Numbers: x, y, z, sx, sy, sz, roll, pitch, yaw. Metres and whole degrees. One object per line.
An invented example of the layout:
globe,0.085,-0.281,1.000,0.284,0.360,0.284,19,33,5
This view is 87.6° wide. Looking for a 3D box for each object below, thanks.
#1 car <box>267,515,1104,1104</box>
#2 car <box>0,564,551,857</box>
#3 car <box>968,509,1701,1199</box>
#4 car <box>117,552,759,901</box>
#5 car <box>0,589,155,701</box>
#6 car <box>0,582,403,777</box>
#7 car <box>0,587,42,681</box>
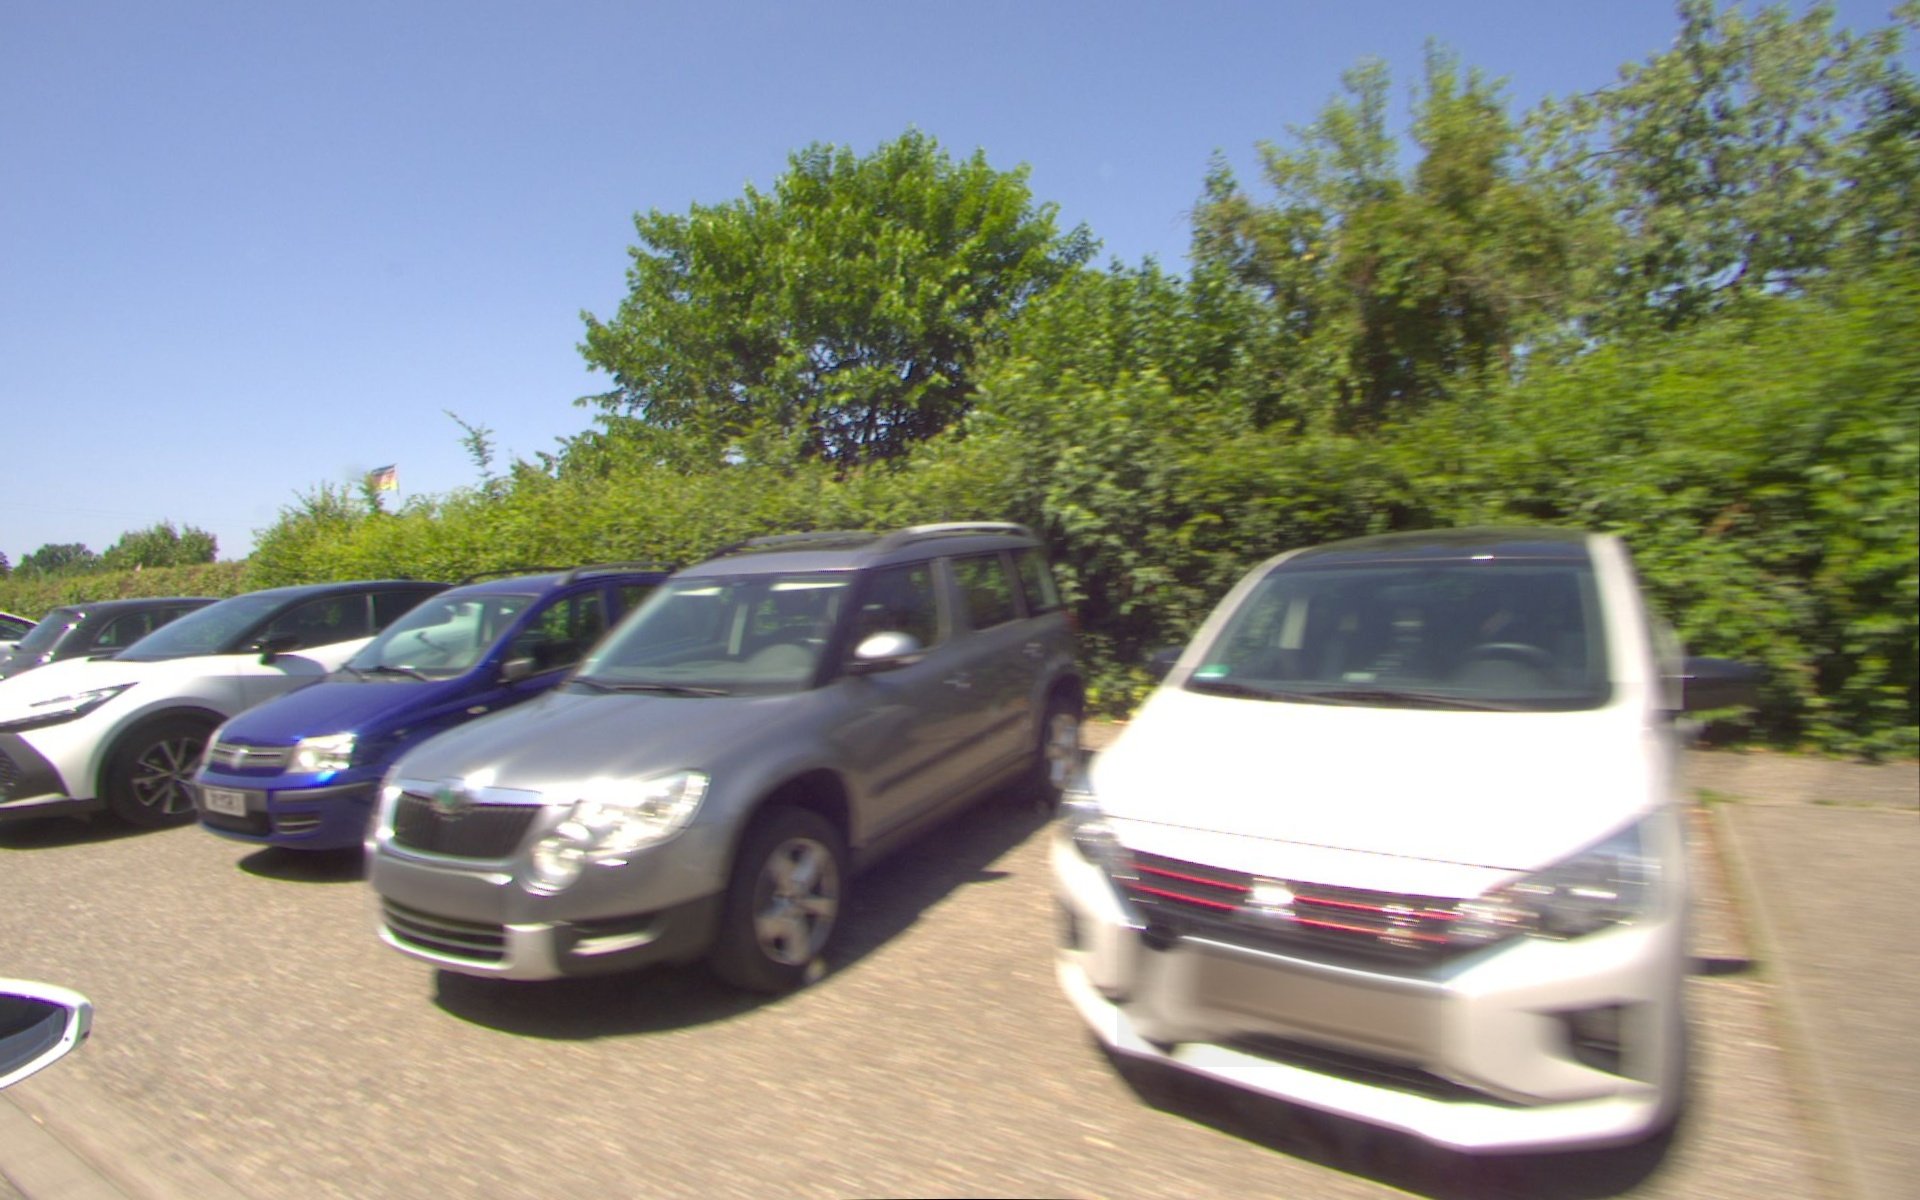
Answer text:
car,-0.772,0.477,4.957,1.638,1.664,3.952,-1,4,28
car,-5.593,0.610,8.044,1.835,1.544,3.956,-1,4,27
car,1.766,0.462,3.766,1.589,1.471,3.674,0,5,36
car,-3.070,0.552,6.651,1.515,1.549,3.446,-1,4,27
car,-15.430,0.753,15.463,1.739,1.600,4.265,-1,3,30
car,-7.860,0.653,10.250,1.567,1.525,3.374,0,3,36
car,-20.566,0.816,18.785,1.923,1.830,4.445,-2,3,28
